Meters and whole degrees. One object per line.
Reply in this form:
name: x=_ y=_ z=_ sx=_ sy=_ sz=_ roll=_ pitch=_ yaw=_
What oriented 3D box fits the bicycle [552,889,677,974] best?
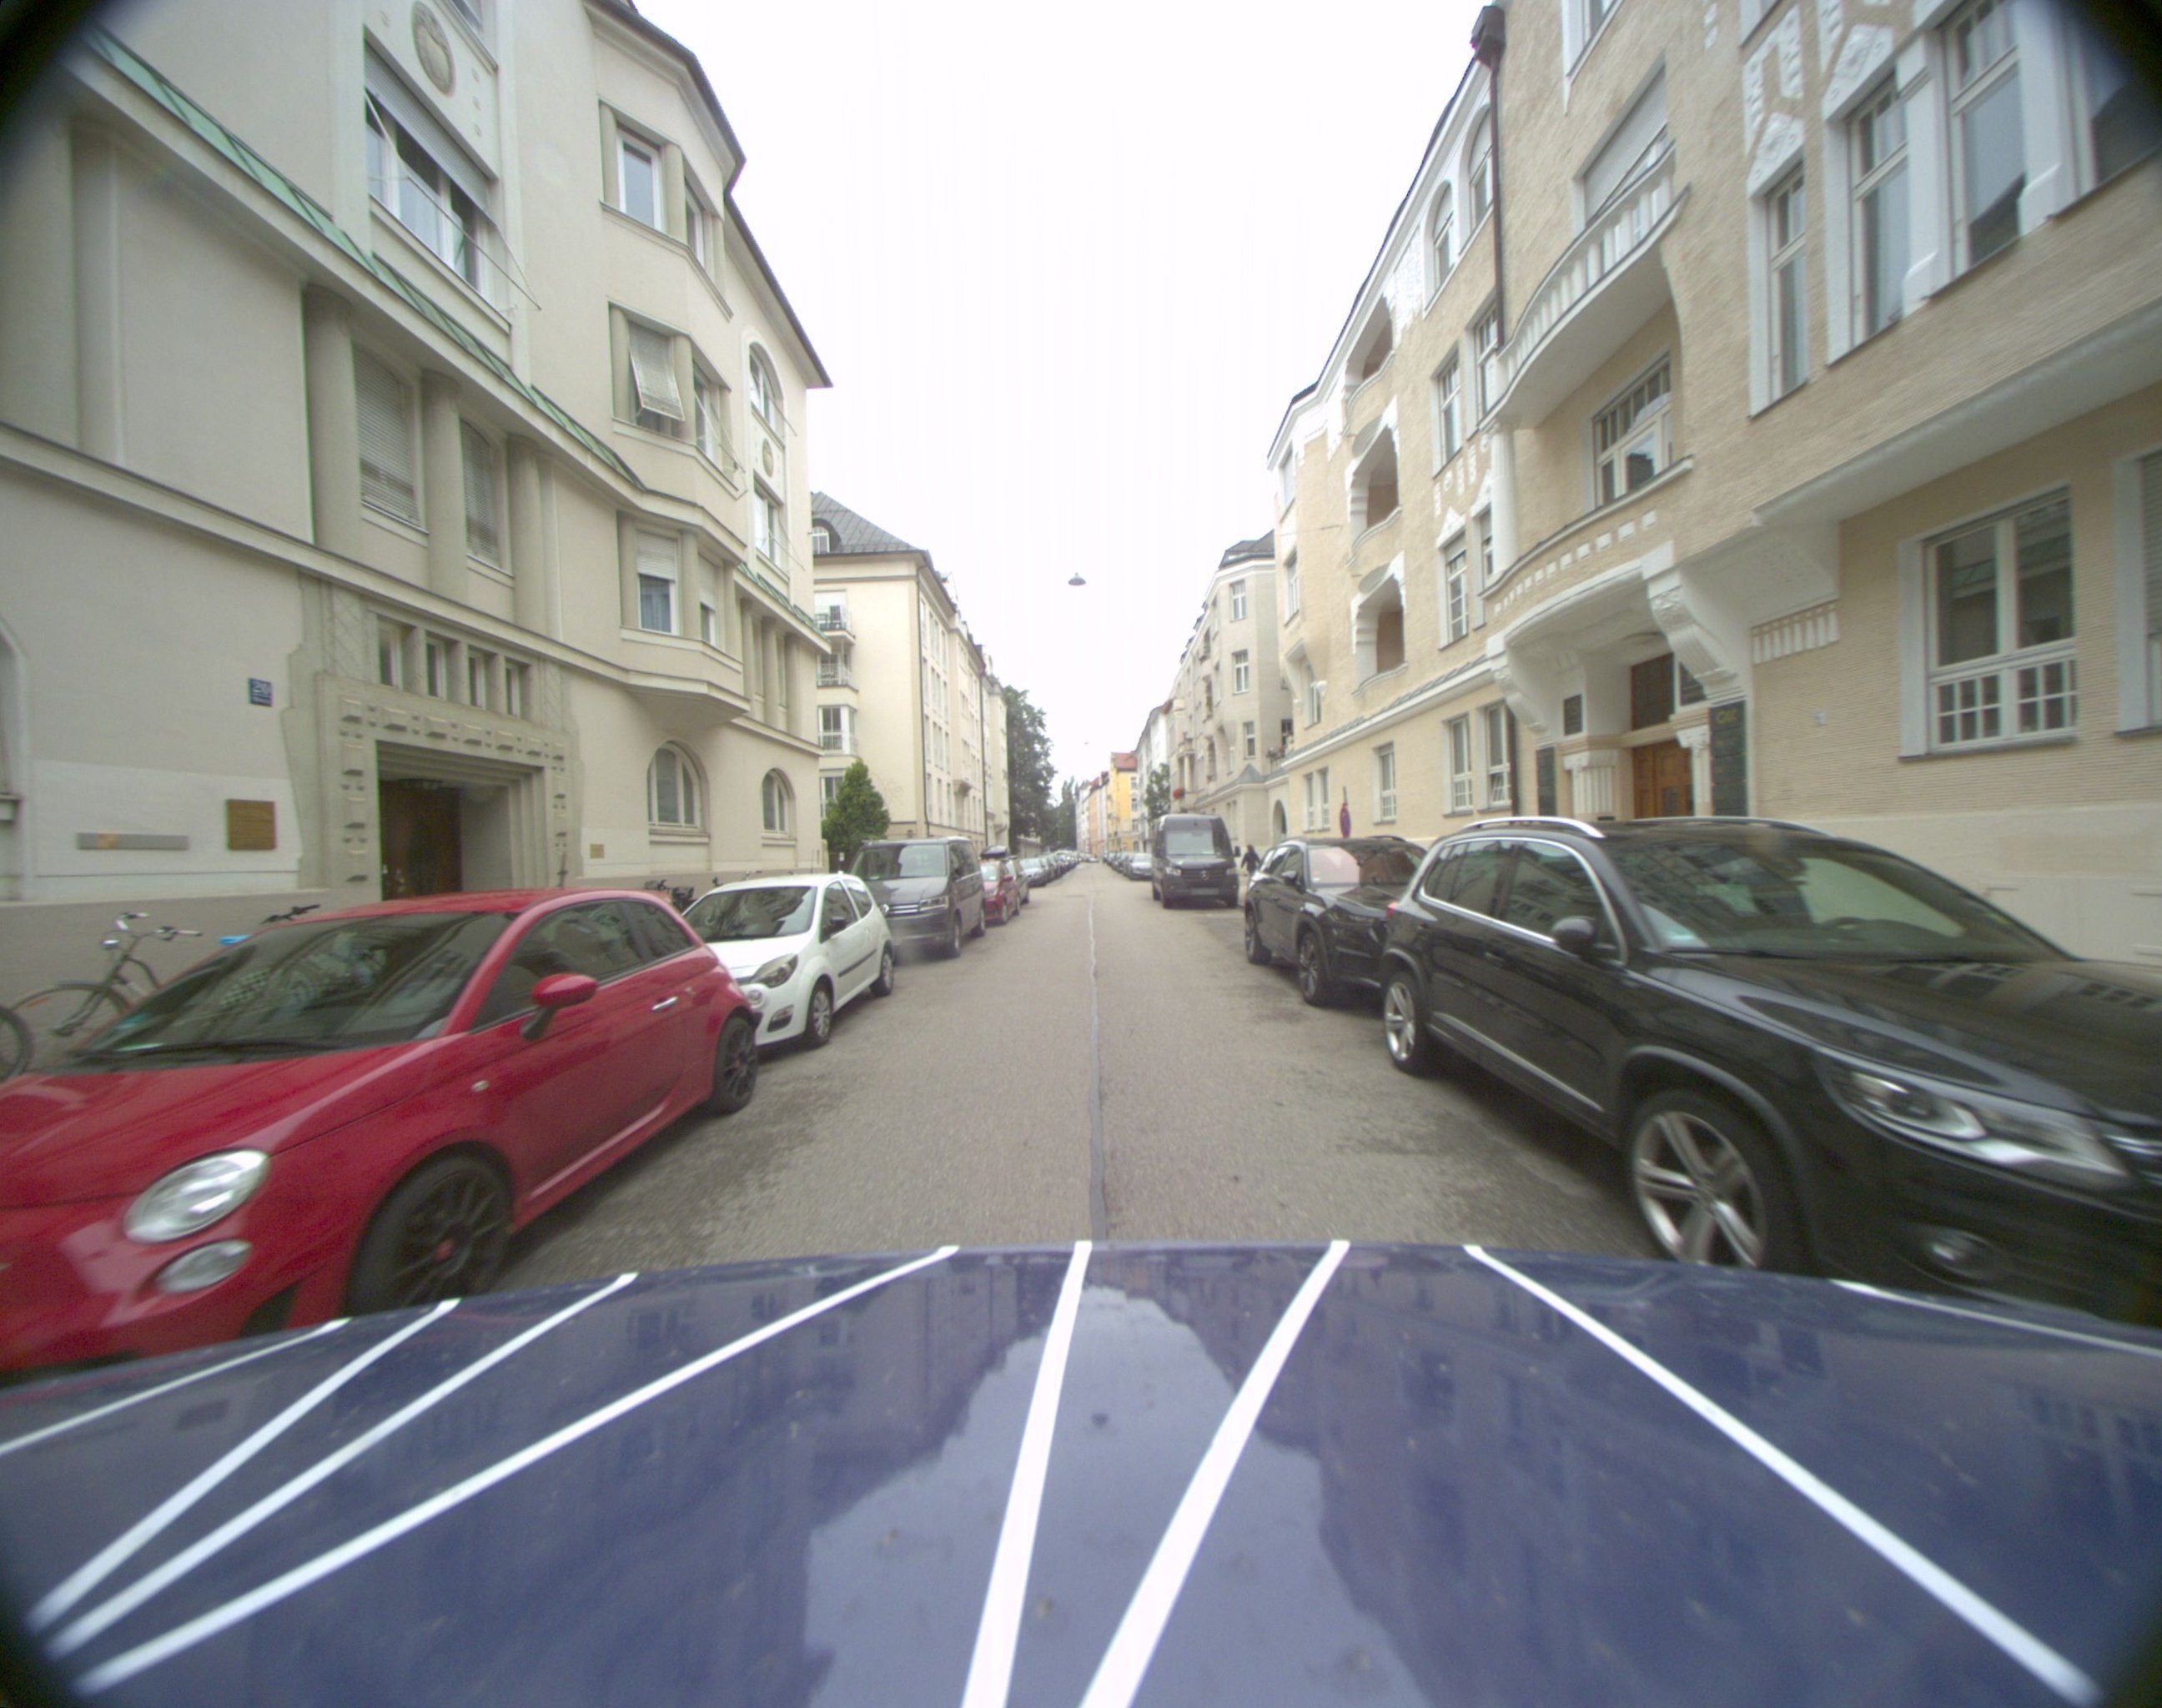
bicycle: x=-7.224 y=1.158 z=11.908 sx=0.719 sy=1.111 sz=1.967 roll=1 pitch=1 yaw=1

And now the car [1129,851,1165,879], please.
car: x=3.536 y=0.559 z=41.327 sx=1.683 sy=1.390 sz=3.705 roll=-3 pitch=1 yaw=1

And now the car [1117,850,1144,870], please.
car: x=3.719 y=0.458 z=57.542 sx=1.683 sy=1.390 sz=3.704 roll=-3 pitch=1 yaw=-1

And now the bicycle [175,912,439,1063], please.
bicycle: x=-7.458 y=1.215 z=7.488 sx=0.494 sy=1.111 sz=1.967 roll=-3 pitch=1 yaw=1

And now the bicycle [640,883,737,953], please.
bicycle: x=-7.163 y=1.131 z=13.983 sx=0.719 sy=1.111 sz=1.967 roll=0 pitch=1 yaw=1

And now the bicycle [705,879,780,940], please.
bicycle: x=-7.092 y=1.132 z=16.024 sx=0.719 sy=1.111 sz=1.884 roll=-1 pitch=1 yaw=0

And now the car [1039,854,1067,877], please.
car: x=-1.878 y=0.757 z=52.085 sx=1.683 sy=1.375 sz=3.645 roll=-3 pitch=1 yaw=1

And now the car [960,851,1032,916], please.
car: x=-2.504 y=0.822 z=23.155 sx=1.683 sy=1.767 sz=3.456 roll=-3 pitch=1 yaw=1

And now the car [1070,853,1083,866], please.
car: x=-0.671 y=0.797 z=107.606 sx=1.683 sy=1.671 sz=3.645 roll=-3 pitch=1 yaw=1

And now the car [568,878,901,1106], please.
car: x=-2.973 y=1.070 z=7.414 sx=1.496 sy=1.463 sz=3.675 roll=-3 pitch=0 yaw=0

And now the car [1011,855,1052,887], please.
car: x=-2.453 y=0.815 z=38.108 sx=1.683 sy=1.434 sz=3.645 roll=-3 pitch=1 yaw=1

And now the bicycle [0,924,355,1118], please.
bicycle: x=-7.221 y=1.236 z=6.180 sx=0.643 sy=1.111 sz=1.968 roll=-2 pitch=1 yaw=2

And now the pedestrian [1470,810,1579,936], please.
pedestrian: x=6.449 y=0.263 z=11.111 sx=0.995 sy=1.719 sz=0.939 roll=-3 pitch=1 yaw=1

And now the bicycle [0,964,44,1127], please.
bicycle: x=-7.419 y=1.278 z=4.258 sx=0.643 sy=1.041 sz=1.837 roll=0 pitch=1 yaw=1

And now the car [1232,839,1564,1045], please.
car: x=3.077 y=0.715 z=8.536 sx=1.877 sy=1.639 sz=4.460 roll=-3 pitch=1 yaw=1

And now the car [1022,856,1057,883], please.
car: x=-2.332 y=0.851 z=43.279 sx=1.683 sy=1.375 sz=3.645 roll=-3 pitch=1 yaw=1

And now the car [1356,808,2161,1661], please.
car: x=2.876 y=0.689 z=3.495 sx=1.736 sy=1.633 sz=4.101 roll=-3 pitch=1 yaw=1

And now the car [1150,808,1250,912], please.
car: x=3.266 y=0.137 z=22.021 sx=2.104 sy=2.606 sz=5.678 roll=-1 pitch=1 yaw=1

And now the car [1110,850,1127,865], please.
car: x=4.230 y=0.374 z=85.983 sx=1.683 sy=1.628 sz=3.704 roll=-3 pitch=1 yaw=-1

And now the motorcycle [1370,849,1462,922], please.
motorcycle: x=7.021 y=0.615 z=16.089 sx=0.829 sy=1.387 sz=2.514 roll=-3 pitch=1 yaw=1

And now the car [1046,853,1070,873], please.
car: x=-1.784 y=0.664 z=60.438 sx=1.683 sy=1.434 sz=3.645 roll=-3 pitch=1 yaw=1

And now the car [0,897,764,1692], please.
car: x=-2.912 y=1.066 z=3.339 sx=1.496 sy=1.463 sz=3.503 roll=-3 pitch=0 yaw=0

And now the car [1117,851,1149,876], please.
car: x=3.247 y=0.560 z=47.702 sx=1.683 sy=1.390 sz=3.704 roll=-3 pitch=1 yaw=-1

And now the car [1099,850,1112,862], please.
car: x=4.366 y=0.305 z=135.994 sx=1.999 sy=2.002 sz=3.998 roll=-3 pitch=1 yaw=-3

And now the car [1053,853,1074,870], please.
car: x=-1.607 y=0.650 z=70.269 sx=1.683 sy=1.434 sz=3.645 roll=-3 pitch=1 yaw=1

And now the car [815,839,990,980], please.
car: x=-2.839 y=0.787 z=13.255 sx=1.880 sy=1.925 sz=4.662 roll=-3 pitch=0 yaw=0

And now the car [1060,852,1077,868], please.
car: x=-1.335 y=0.635 z=83.975 sx=1.683 sy=1.671 sz=3.645 roll=-3 pitch=1 yaw=1

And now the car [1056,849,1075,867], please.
car: x=-1.557 y=0.373 z=77.807 sx=1.683 sy=1.671 sz=3.645 roll=-3 pitch=1 yaw=1

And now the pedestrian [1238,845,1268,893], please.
pedestrian: x=5.689 y=0.480 z=25.157 sx=0.714 sy=1.514 sz=1.015 roll=-3 pitch=1 yaw=0

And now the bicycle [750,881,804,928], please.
bicycle: x=-7.236 y=1.179 z=18.144 sx=0.540 sy=0.952 sz=1.817 roll=-3 pitch=1 yaw=-1

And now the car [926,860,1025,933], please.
car: x=-2.436 y=0.931 z=18.364 sx=1.731 sy=1.458 sz=3.737 roll=-3 pitch=1 yaw=1

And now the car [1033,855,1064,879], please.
car: x=-1.990 y=0.798 z=47.800 sx=1.683 sy=1.375 sz=3.645 roll=-3 pitch=1 yaw=1

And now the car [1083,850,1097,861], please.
car: x=1.630 y=0.243 z=137.285 sx=1.999 sy=1.788 sz=3.998 roll=-3 pitch=1 yaw=-5
